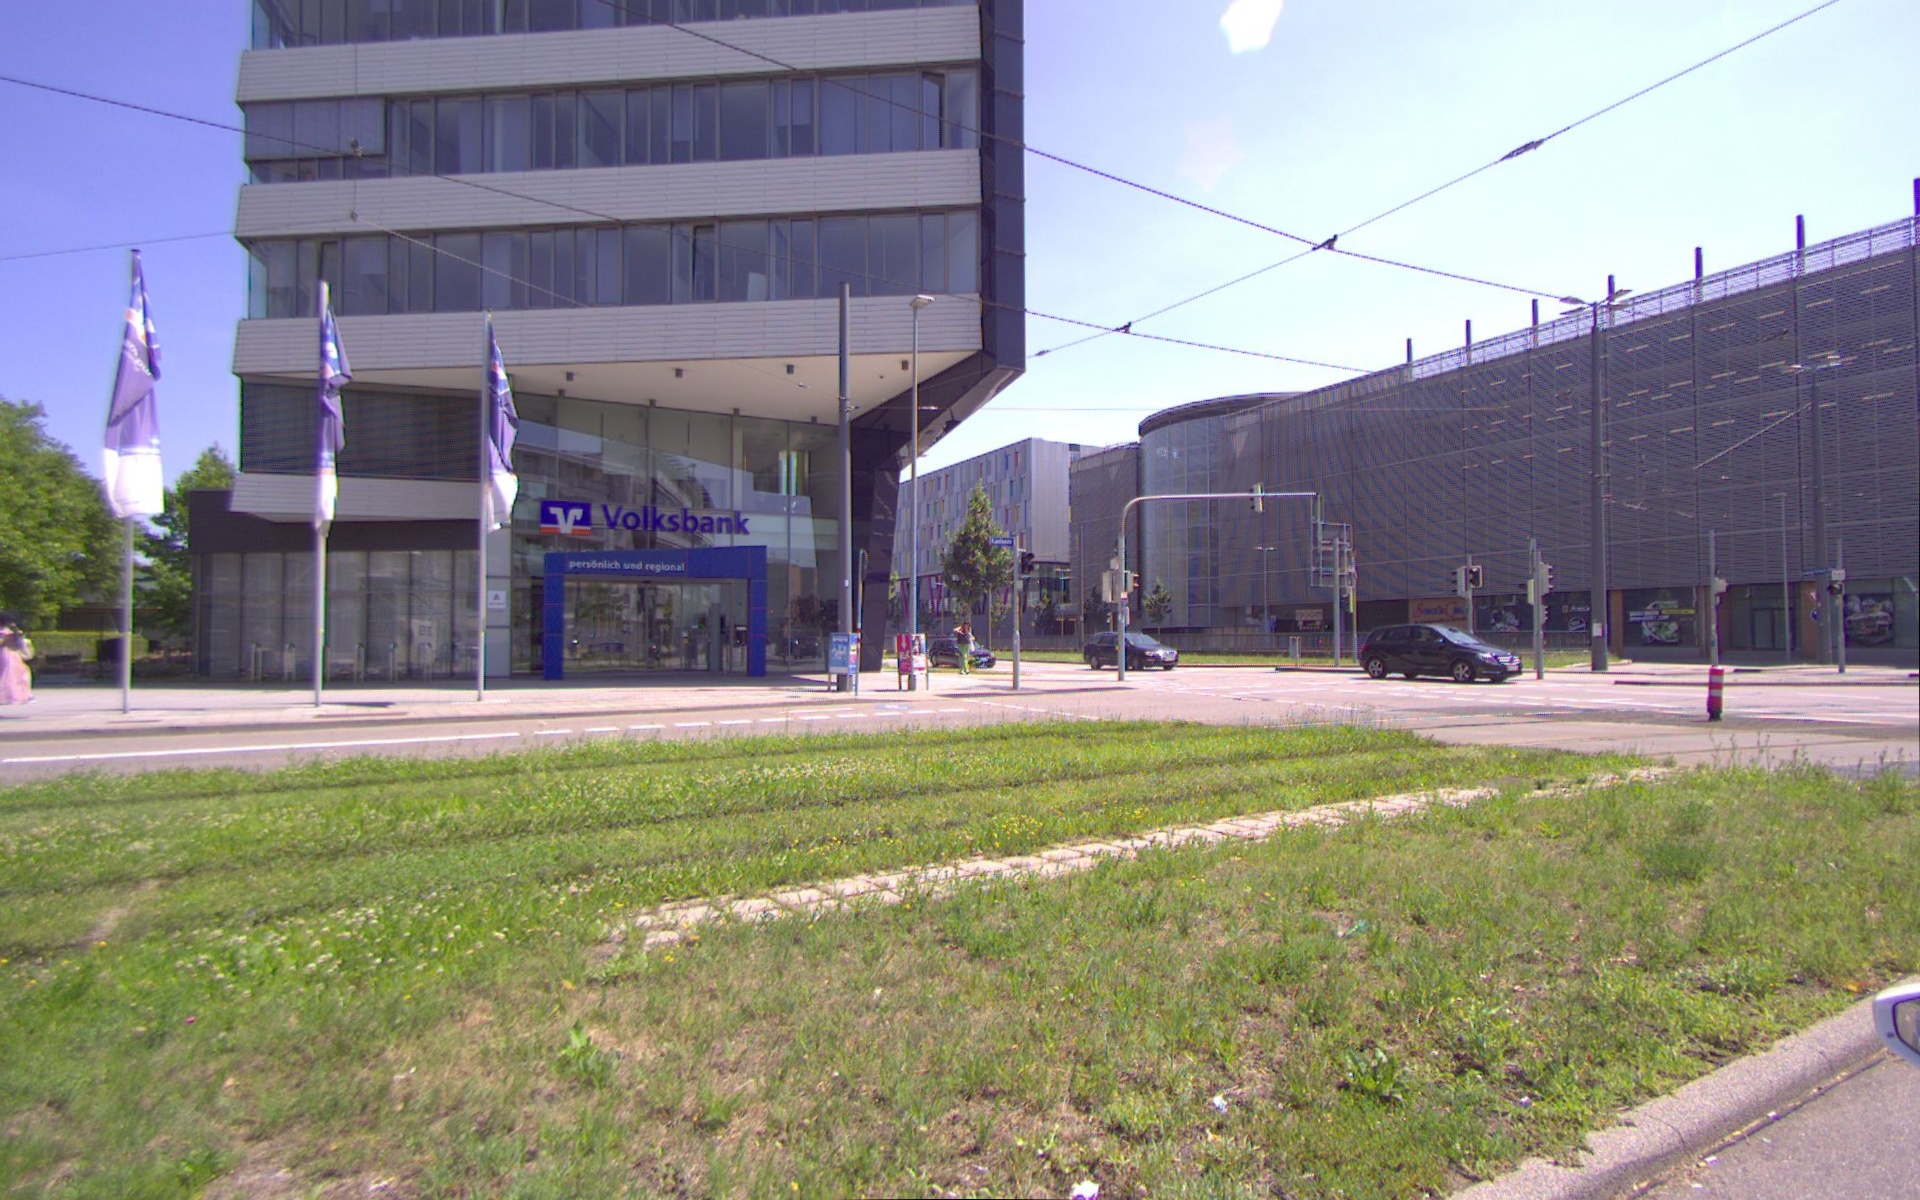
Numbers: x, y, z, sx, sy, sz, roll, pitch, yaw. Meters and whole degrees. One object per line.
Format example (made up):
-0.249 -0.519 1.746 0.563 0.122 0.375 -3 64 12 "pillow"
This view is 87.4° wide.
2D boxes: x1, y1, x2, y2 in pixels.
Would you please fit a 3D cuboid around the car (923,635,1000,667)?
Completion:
0.015 2.382 47.580 1.617 1.360 4.282 0 -1 -32 "car"

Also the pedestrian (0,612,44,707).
-16.817 1.037 17.677 0.737 1.652 0.912 -1 -1 37 "pedestrian"

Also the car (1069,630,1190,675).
6.677 2.031 40.098 1.980 1.601 4.824 0 -1 -34 "car"

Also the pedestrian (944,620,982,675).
0.103 1.538 33.011 0.889 1.770 0.975 -1 -1 31 "pedestrian"

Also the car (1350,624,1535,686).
13.399 1.466 28.158 1.978 1.574 4.295 0 -1 -33 "car"
